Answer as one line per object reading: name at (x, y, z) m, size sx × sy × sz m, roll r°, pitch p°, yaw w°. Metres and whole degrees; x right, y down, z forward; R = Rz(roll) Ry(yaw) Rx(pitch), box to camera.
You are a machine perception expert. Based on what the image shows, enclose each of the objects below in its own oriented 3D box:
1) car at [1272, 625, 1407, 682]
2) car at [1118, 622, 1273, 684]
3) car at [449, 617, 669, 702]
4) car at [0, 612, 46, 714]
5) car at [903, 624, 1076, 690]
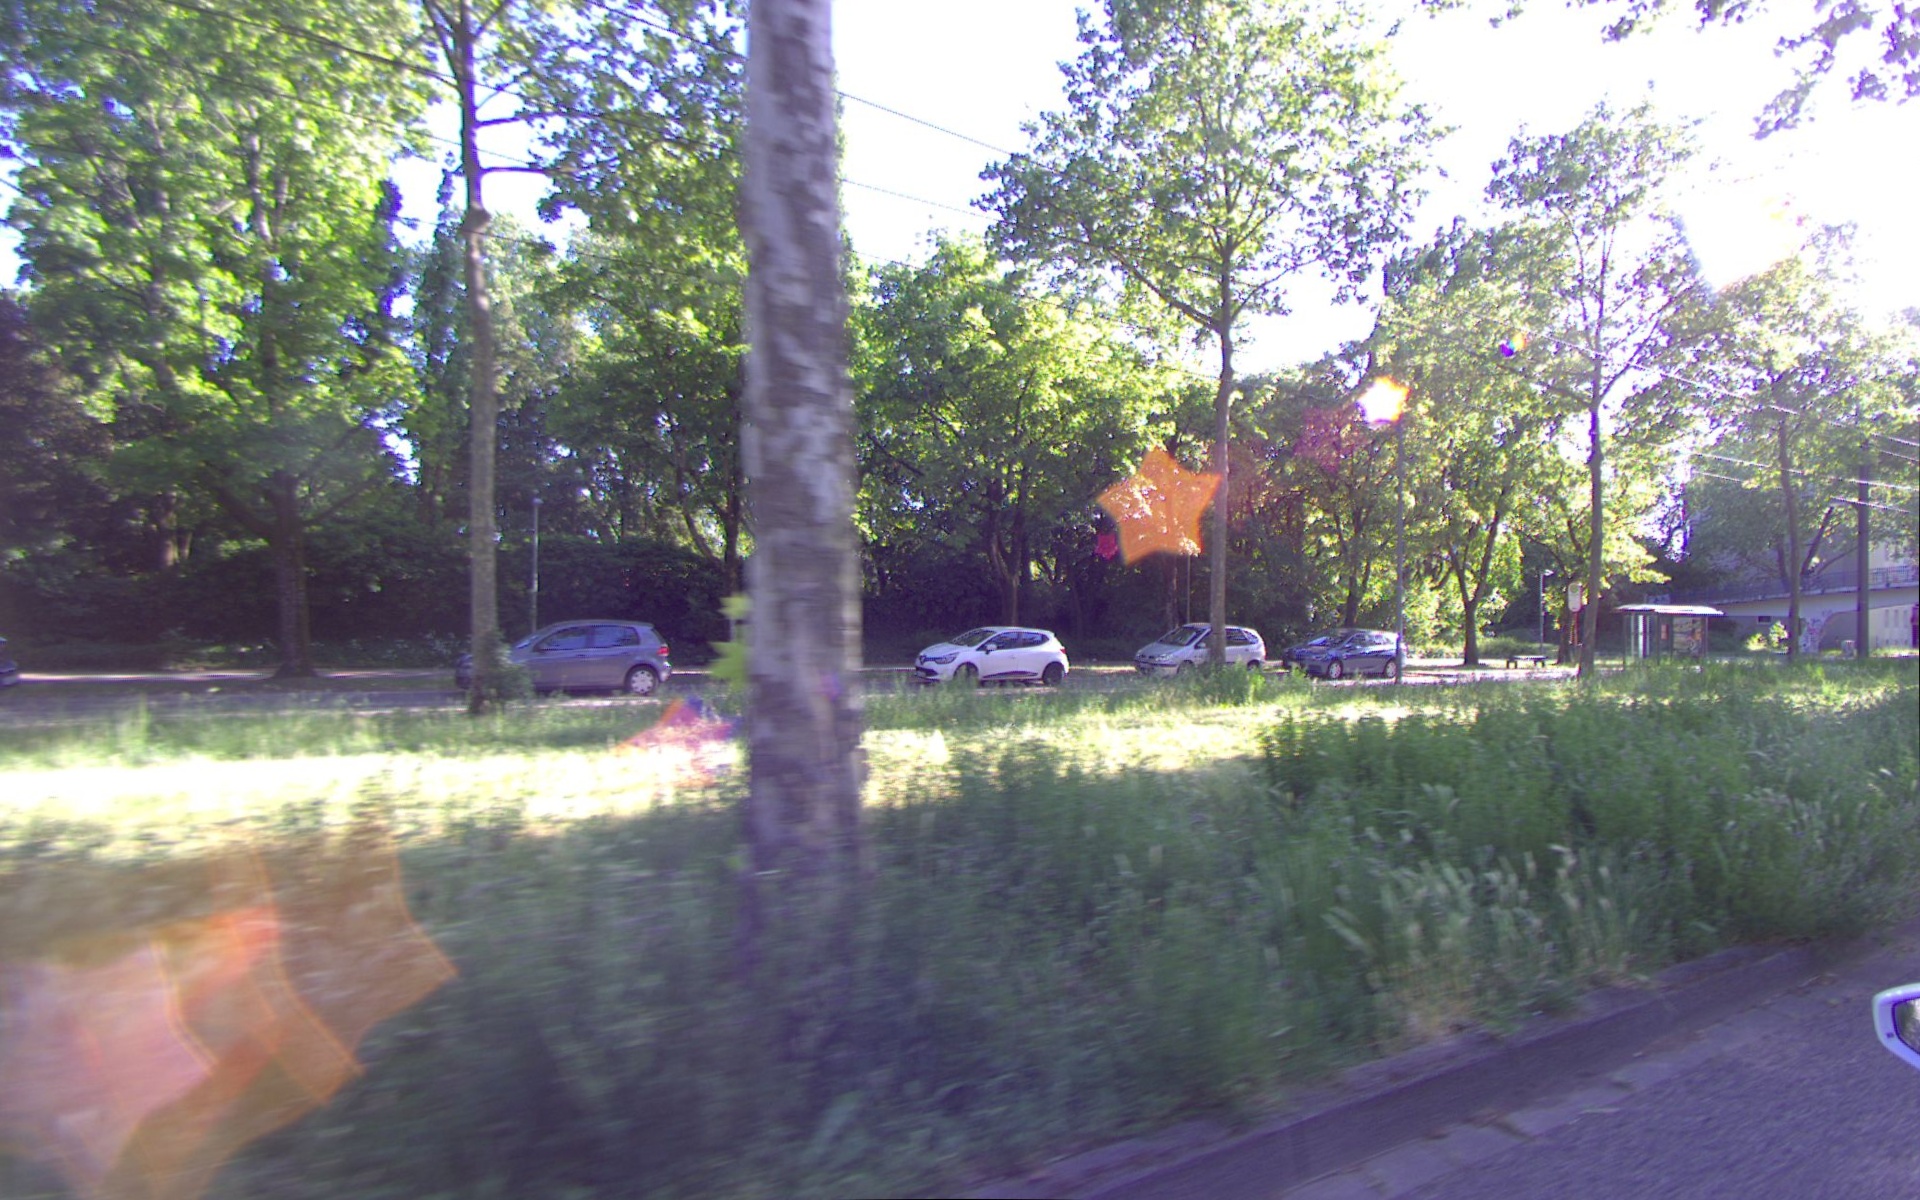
car at (12.161, 1.678, 32.166) m, size 4.117 × 1.611 × 1.779 m, roll 1°, pitch 1°, yaw -29°
car at (6.914, 1.522, 29.452) m, size 4.117 × 1.611 × 1.985 m, roll 1°, pitch 1°, yaw -29°
car at (-8.161, 1.157, 20.477) m, size 3.951 × 1.472 × 1.985 m, roll 1°, pitch 1°, yaw -29°
car at (-16.627, 0.951, 15.361) m, size 3.531 × 1.472 × 1.864 m, roll 1°, pitch 1°, yaw -29°
car at (0.760, 1.416, 25.732) m, size 3.951 × 1.472 × 1.985 m, roll 1°, pitch 1°, yaw -29°
